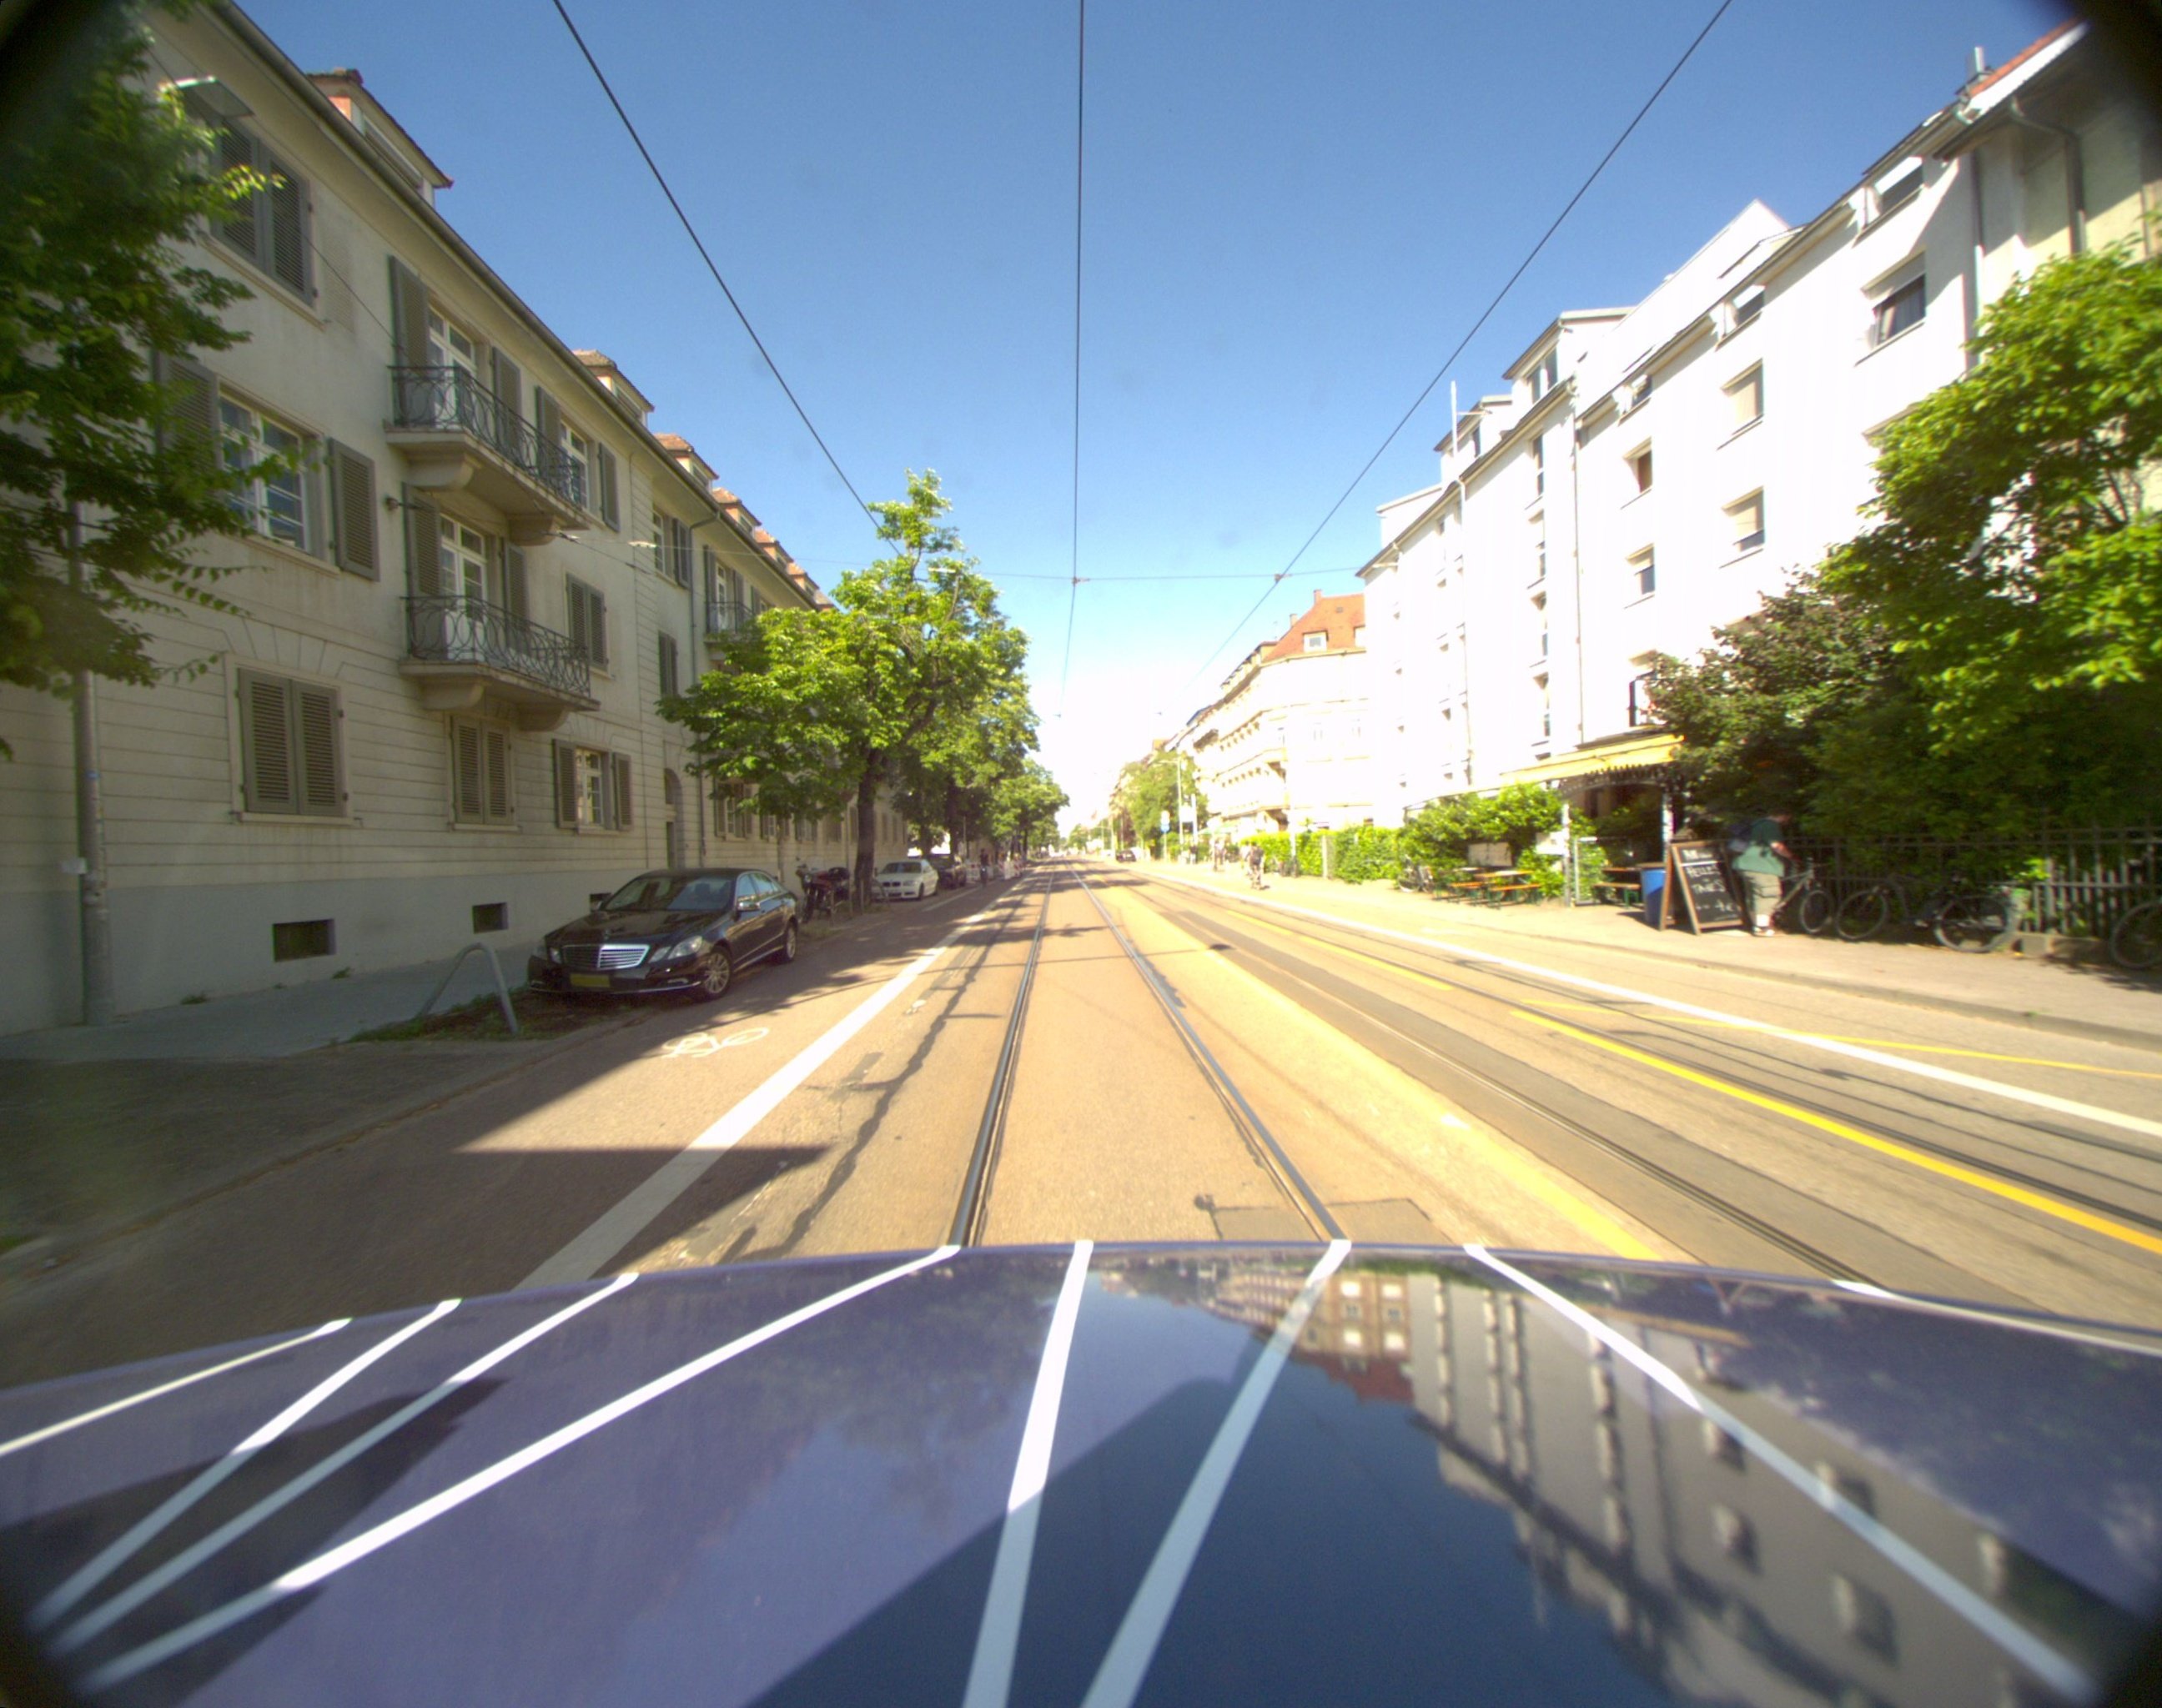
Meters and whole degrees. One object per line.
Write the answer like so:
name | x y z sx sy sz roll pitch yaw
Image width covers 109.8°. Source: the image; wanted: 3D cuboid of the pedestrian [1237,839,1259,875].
pedestrian | 8.246 0.136 37.529 0.756 1.704 0.808 -4 1 -1

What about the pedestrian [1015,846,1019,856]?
pedestrian | -12.516 -0.650 149.098 0.743 2.002 0.687 -2 1 -9

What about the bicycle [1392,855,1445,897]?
bicycle | 9.538 0.603 21.550 0.640 1.053 1.742 -5 1 0

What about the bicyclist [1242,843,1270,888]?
bicyclist | 6.387 0.399 27.814 0.747 1.590 1.117 1 1 0

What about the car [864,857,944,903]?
car | -6.030 0.851 26.422 1.728 1.374 4.355 -1 1 0

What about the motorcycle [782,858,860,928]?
motorcycle | -6.133 0.877 18.096 0.916 1.480 2.679 0 1 0

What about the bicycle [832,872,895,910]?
bicycle | -6.303 1.061 22.104 1.624 1.037 0.685 -1 1 -1

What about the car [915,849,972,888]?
car | -6.144 0.612 34.402 1.815 1.617 4.583 0 1 -1

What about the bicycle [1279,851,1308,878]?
bicycle | 9.403 0.446 33.676 0.663 1.083 1.839 -5 2 -1

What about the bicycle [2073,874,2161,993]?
bicycle | 10.221 0.754 6.697 0.591 1.039 1.905 -3 1 7

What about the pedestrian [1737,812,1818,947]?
pedestrian | 9.742 0.341 10.643 0.576 1.821 0.690 -2 2 18

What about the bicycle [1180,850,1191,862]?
bicycle | 8.470 0.144 61.650 0.528 0.975 1.777 -2 1 -1

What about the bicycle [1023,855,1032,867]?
bicycle | -4.902 0.639 70.071 0.776 1.080 2.058 -3 1 -4

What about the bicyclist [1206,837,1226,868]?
bicyclist | 8.260 -0.096 46.529 0.705 1.843 0.987 0 3 42

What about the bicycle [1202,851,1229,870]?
bicycle | 8.261 0.386 46.538 0.705 1.049 1.838 0 3 42

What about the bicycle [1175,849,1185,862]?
bicycle | 8.529 0.138 65.422 0.515 1.032 2.222 -2 1 -1

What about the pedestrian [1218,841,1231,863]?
pedestrian | 10.894 -0.181 57.724 0.705 1.645 0.834 -1 3 30

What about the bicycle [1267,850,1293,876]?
bicycle | 9.341 0.400 35.710 0.663 1.083 1.839 -5 2 -1

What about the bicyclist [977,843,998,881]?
bicyclist | -4.363 0.369 35.384 0.763 1.729 1.046 -3 1 -2

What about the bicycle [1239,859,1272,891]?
bicycle | 6.383 0.756 27.870 0.747 1.076 1.898 1 1 0

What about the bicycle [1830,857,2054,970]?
bicycle | 10.212 0.646 9.137 0.647 1.137 1.905 -4 1 7

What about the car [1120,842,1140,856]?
car | 5.557 -0.614 87.307 1.869 1.567 4.587 0 1 -1

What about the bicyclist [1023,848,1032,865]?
bicyclist | -4.918 0.212 70.067 0.776 1.505 1.229 -3 1 -4

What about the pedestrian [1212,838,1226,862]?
pedestrian | 10.304 -0.276 56.654 0.692 1.758 0.868 -1 2 36

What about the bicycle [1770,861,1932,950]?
bicycle | 10.520 0.657 10.490 0.637 1.039 2.024 -2 1 15

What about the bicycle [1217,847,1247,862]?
bicycle | 11.899 0.033 59.916 2.244 1.038 0.876 -2 2 8

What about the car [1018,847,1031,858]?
car | -8.296 -0.215 111.944 1.824 1.475 4.747 -1 1 -4

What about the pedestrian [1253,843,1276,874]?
pedestrian | 9.035 0.200 37.438 0.756 1.469 0.956 -4 1 -1

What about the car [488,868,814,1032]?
car | -5.083 0.985 9.927 1.827 1.450 4.815 -1 1 -5

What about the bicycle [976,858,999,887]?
bicycle | -4.336 0.855 35.385 0.763 1.235 2.095 -3 1 -2

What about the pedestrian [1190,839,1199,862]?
pedestrian | 9.008 -0.275 60.179 0.558 1.771 0.538 -2 2 -5

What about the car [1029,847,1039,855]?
car | -9.081 -0.564 146.385 1.761 1.458 4.612 -1 1 -4

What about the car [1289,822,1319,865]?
car | 15.652 -0.827 53.382 1.889 2.825 4.787 -1 2 16
